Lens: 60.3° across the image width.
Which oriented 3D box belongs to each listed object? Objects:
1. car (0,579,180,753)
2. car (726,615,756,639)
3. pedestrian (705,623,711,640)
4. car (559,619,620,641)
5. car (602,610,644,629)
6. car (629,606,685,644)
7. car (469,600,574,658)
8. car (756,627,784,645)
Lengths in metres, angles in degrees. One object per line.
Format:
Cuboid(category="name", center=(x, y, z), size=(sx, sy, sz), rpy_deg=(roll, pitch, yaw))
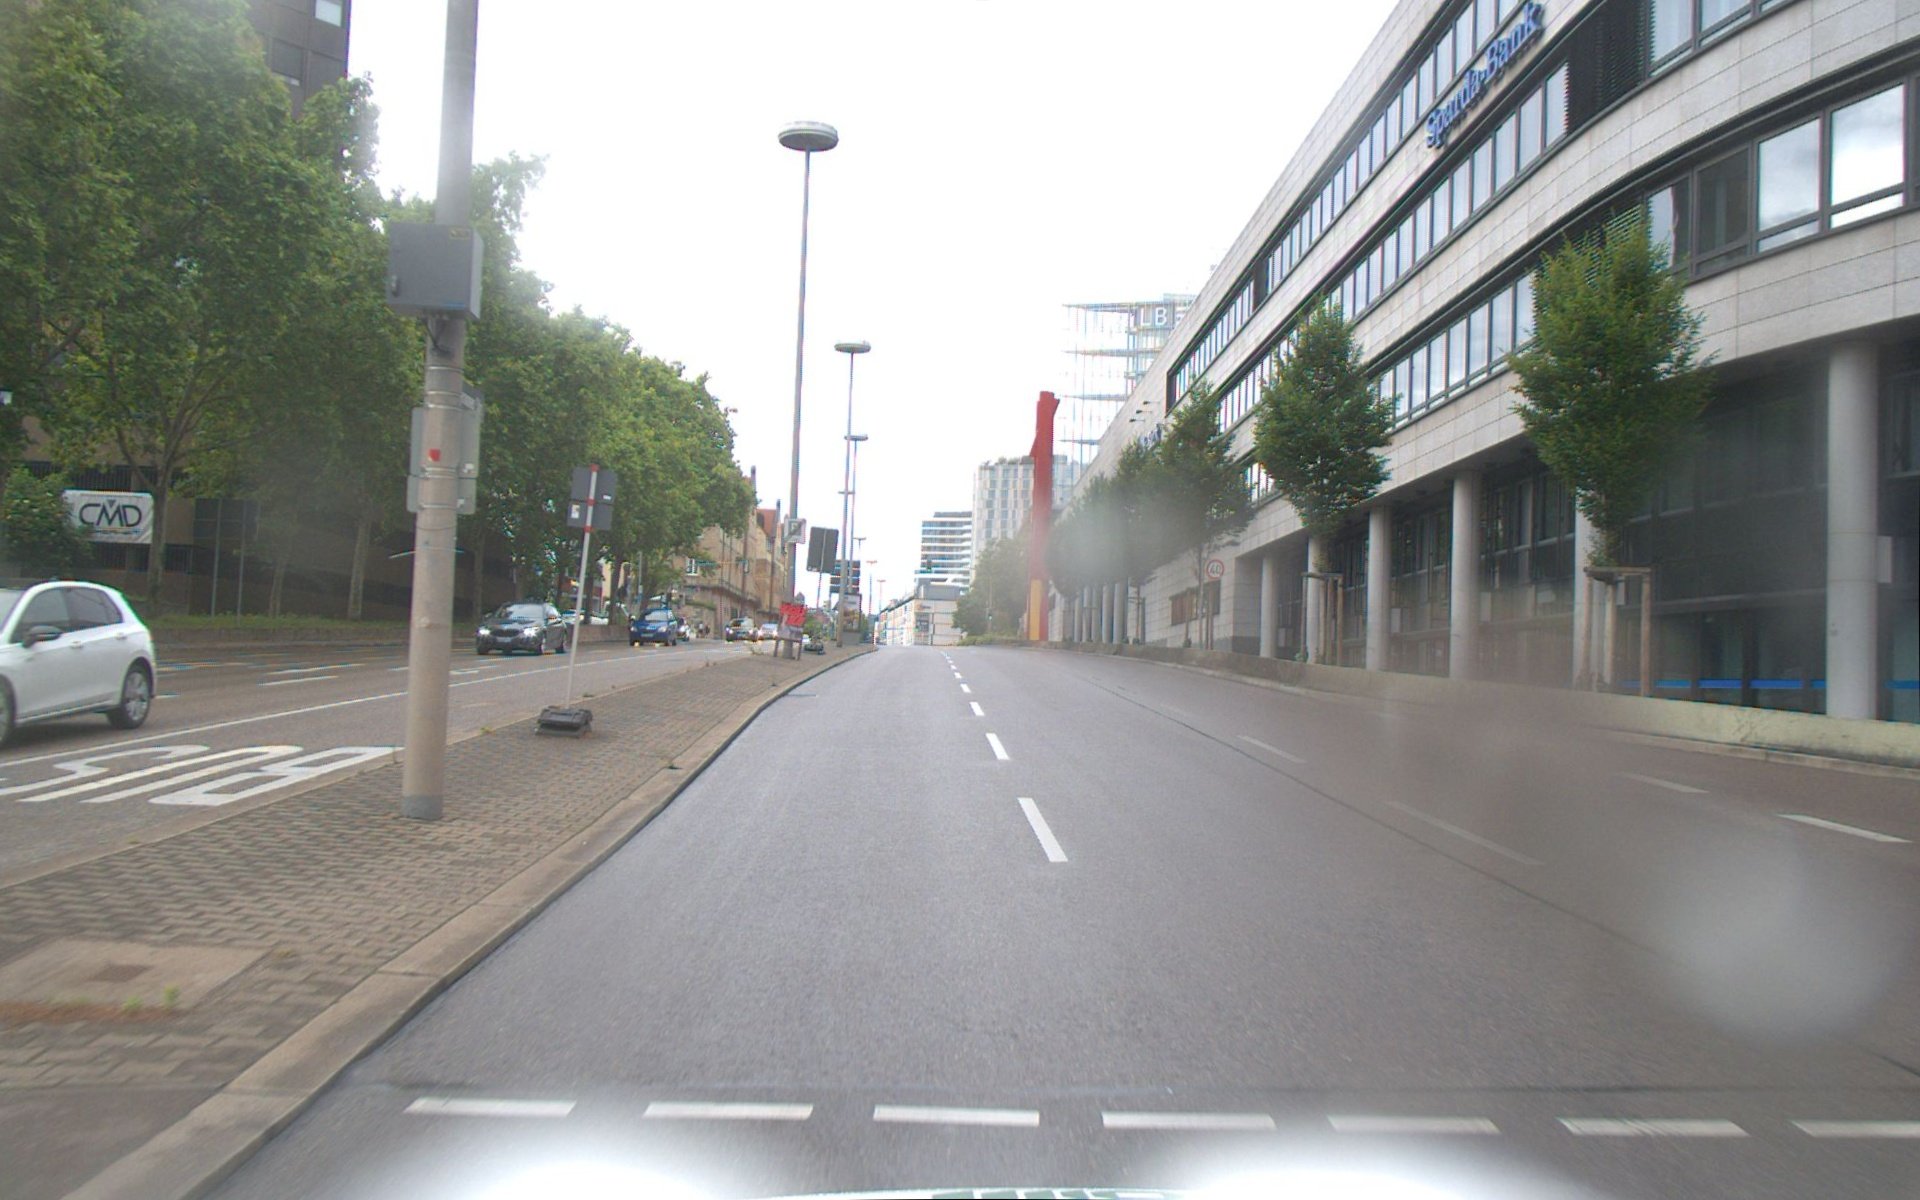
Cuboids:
Cuboid(category="car", center=(-9.068, 0.554, 15.284), size=(1.725, 1.486, 4.358), rpy_deg=(1, 0, -1))
Cuboid(category="car", center=(-13.572, 1.692, 102.614), size=(1.653, 1.435, 3.996), rpy_deg=(1, -1, -5))
Cuboid(category="pedestrian", center=(-24.314, 3.038, 159.700), size=(0.488, 1.639, 0.500), rpy_deg=(2, -3, 1))
Cuboid(category="car", center=(-28.811, 2.346, 128.740), size=(1.789, 1.537, 4.558), rpy_deg=(-2, -3, 37))
Cuboid(category="car", center=(-31.724, 1.886, 155.762), size=(3.557, 1.731, 1.823), rpy_deg=(0, -3, -4))
Cuboid(category="car", center=(-12.570, 1.044, 68.784), size=(1.575, 1.499, 4.067), rpy_deg=(1, -1, 0))
Cuboid(category="car", center=(-11.810, 0.751, 44.791), size=(1.770, 1.474, 4.338), rpy_deg=(1, 0, -2))
Cuboid(category="car", center=(-15.906, 3.023, 138.704), size=(1.782, 1.428, 4.000), rpy_deg=(0, -3, 1))
